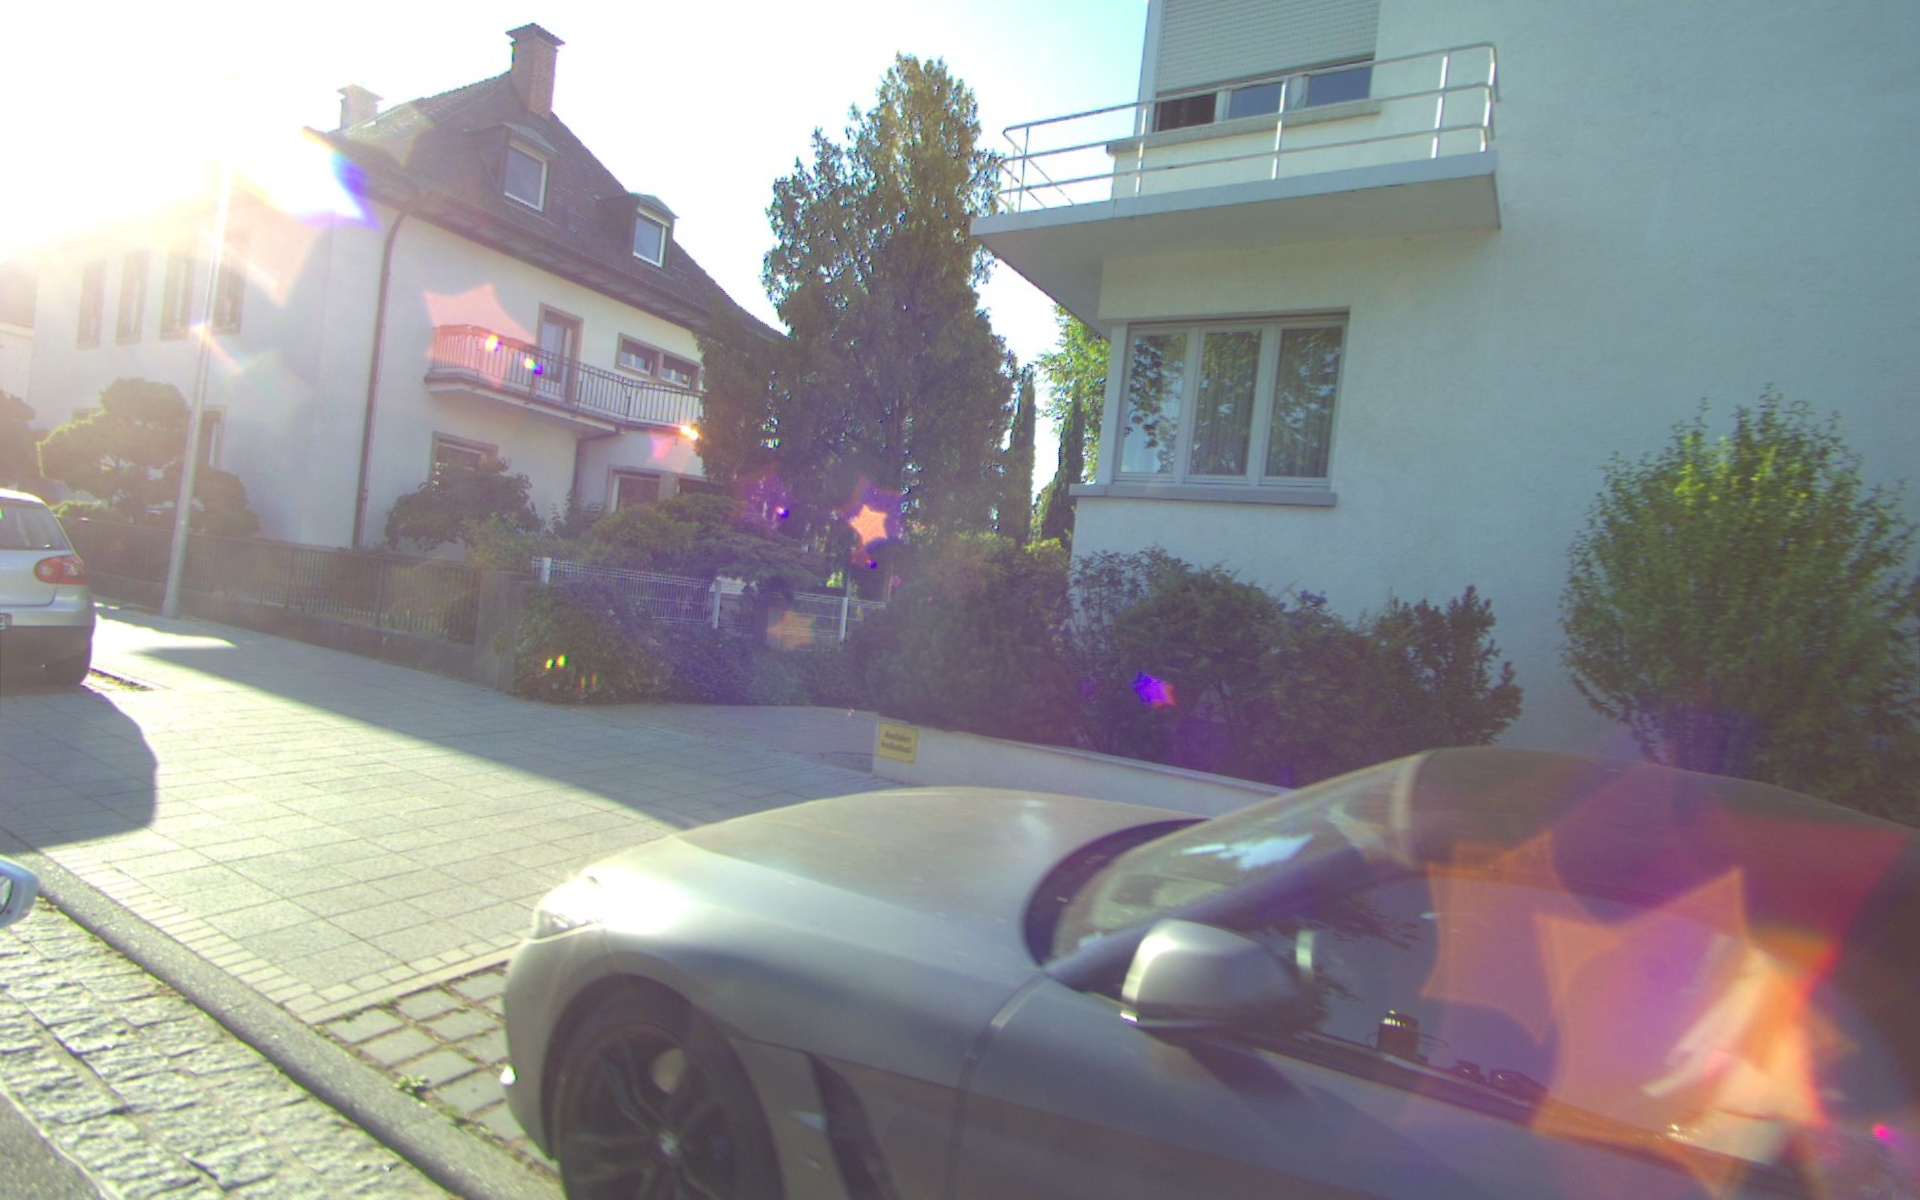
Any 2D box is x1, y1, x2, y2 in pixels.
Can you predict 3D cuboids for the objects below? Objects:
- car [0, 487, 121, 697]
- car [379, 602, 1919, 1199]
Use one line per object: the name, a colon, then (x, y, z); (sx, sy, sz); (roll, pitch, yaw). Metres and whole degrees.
car: (-8.533, -0.228, 8.078); (3.860, 1.494, 1.743); (6, 2, 34)
car: (0.776, 0.893, 2.211); (4.202, 1.306, 1.774); (7, 2, 32)
